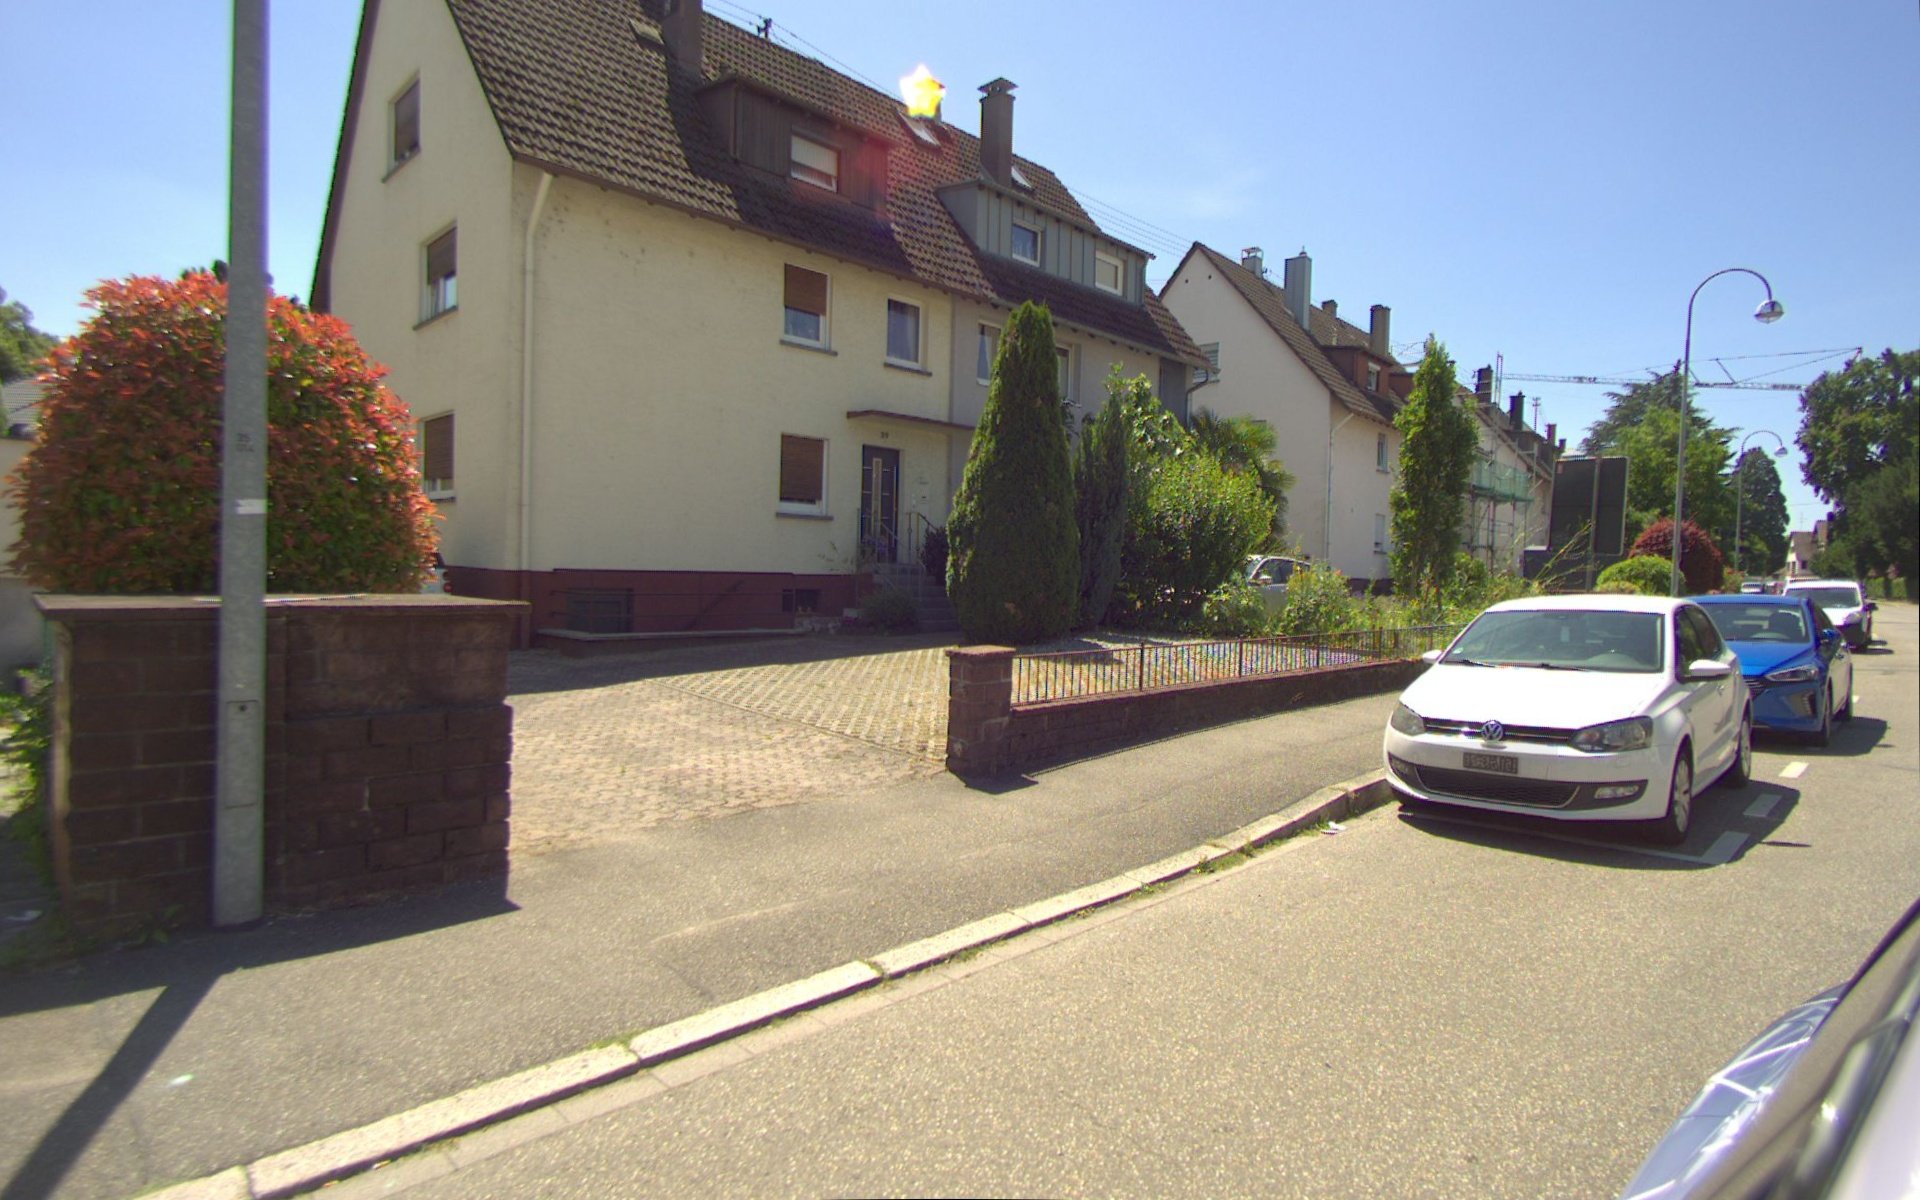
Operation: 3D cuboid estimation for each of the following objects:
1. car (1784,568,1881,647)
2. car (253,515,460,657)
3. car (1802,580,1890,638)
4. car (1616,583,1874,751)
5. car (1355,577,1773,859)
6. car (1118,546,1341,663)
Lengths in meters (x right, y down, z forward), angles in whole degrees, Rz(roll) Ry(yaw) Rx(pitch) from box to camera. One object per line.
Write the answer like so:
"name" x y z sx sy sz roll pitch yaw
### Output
"car" 21.620 0.159 25.040 1.683 1.802 3.881 -1 0 42
"car" -7.894 -0.253 13.142 3.150 1.571 1.545 6 4 44
"car" 25.167 0.195 28.708 1.685 1.516 3.877 1 1 44
"car" 8.713 0.558 11.087 4.291 1.472 1.685 -1 1 -45
"car" 4.439 0.595 7.204 3.678 1.473 1.685 0 1 -44
"car" 4.989 0.010 18.383 4.457 1.873 1.918 -1 2 -45
